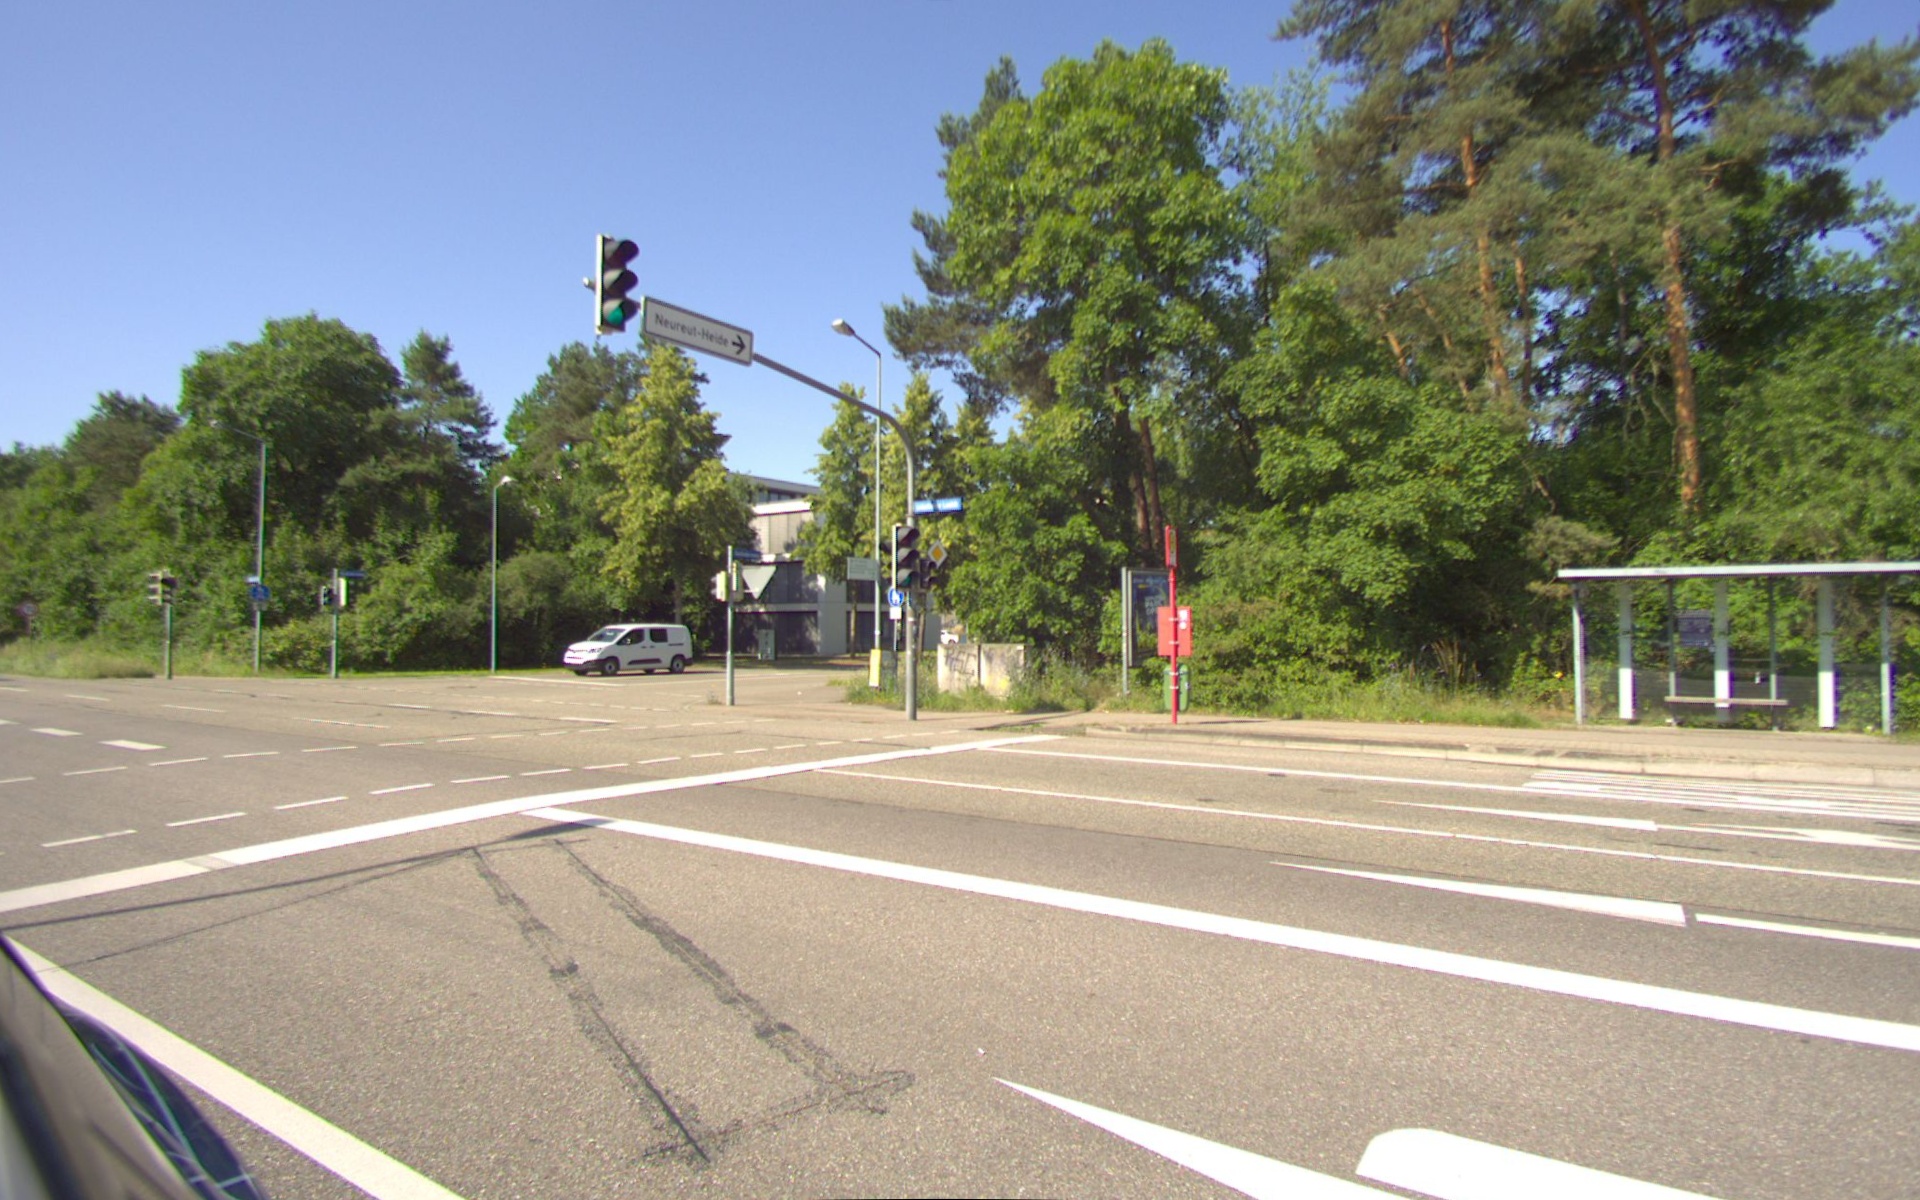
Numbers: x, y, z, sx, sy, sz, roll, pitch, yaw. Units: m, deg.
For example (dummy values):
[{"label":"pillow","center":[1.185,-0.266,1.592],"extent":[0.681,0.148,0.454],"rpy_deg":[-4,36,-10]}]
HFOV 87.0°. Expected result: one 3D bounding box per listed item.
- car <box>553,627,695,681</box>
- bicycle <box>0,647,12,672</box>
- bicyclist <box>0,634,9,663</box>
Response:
[{"label":"car","center":[-11.876,1.887,36.044],"extent":[1.847,1.791,4.607],"rpy_deg":[-1,-3,34]},{"label":"bicycle","center":[-45.483,2.784,47.627],"extent":[2.365,1.172,0.727],"rpy_deg":[-2,-2,33]},{"label":"bicyclist","center":[-45.454,2.290,47.669],"extent":[0.880,1.321,0.715],"rpy_deg":[-2,-2,32]}]
